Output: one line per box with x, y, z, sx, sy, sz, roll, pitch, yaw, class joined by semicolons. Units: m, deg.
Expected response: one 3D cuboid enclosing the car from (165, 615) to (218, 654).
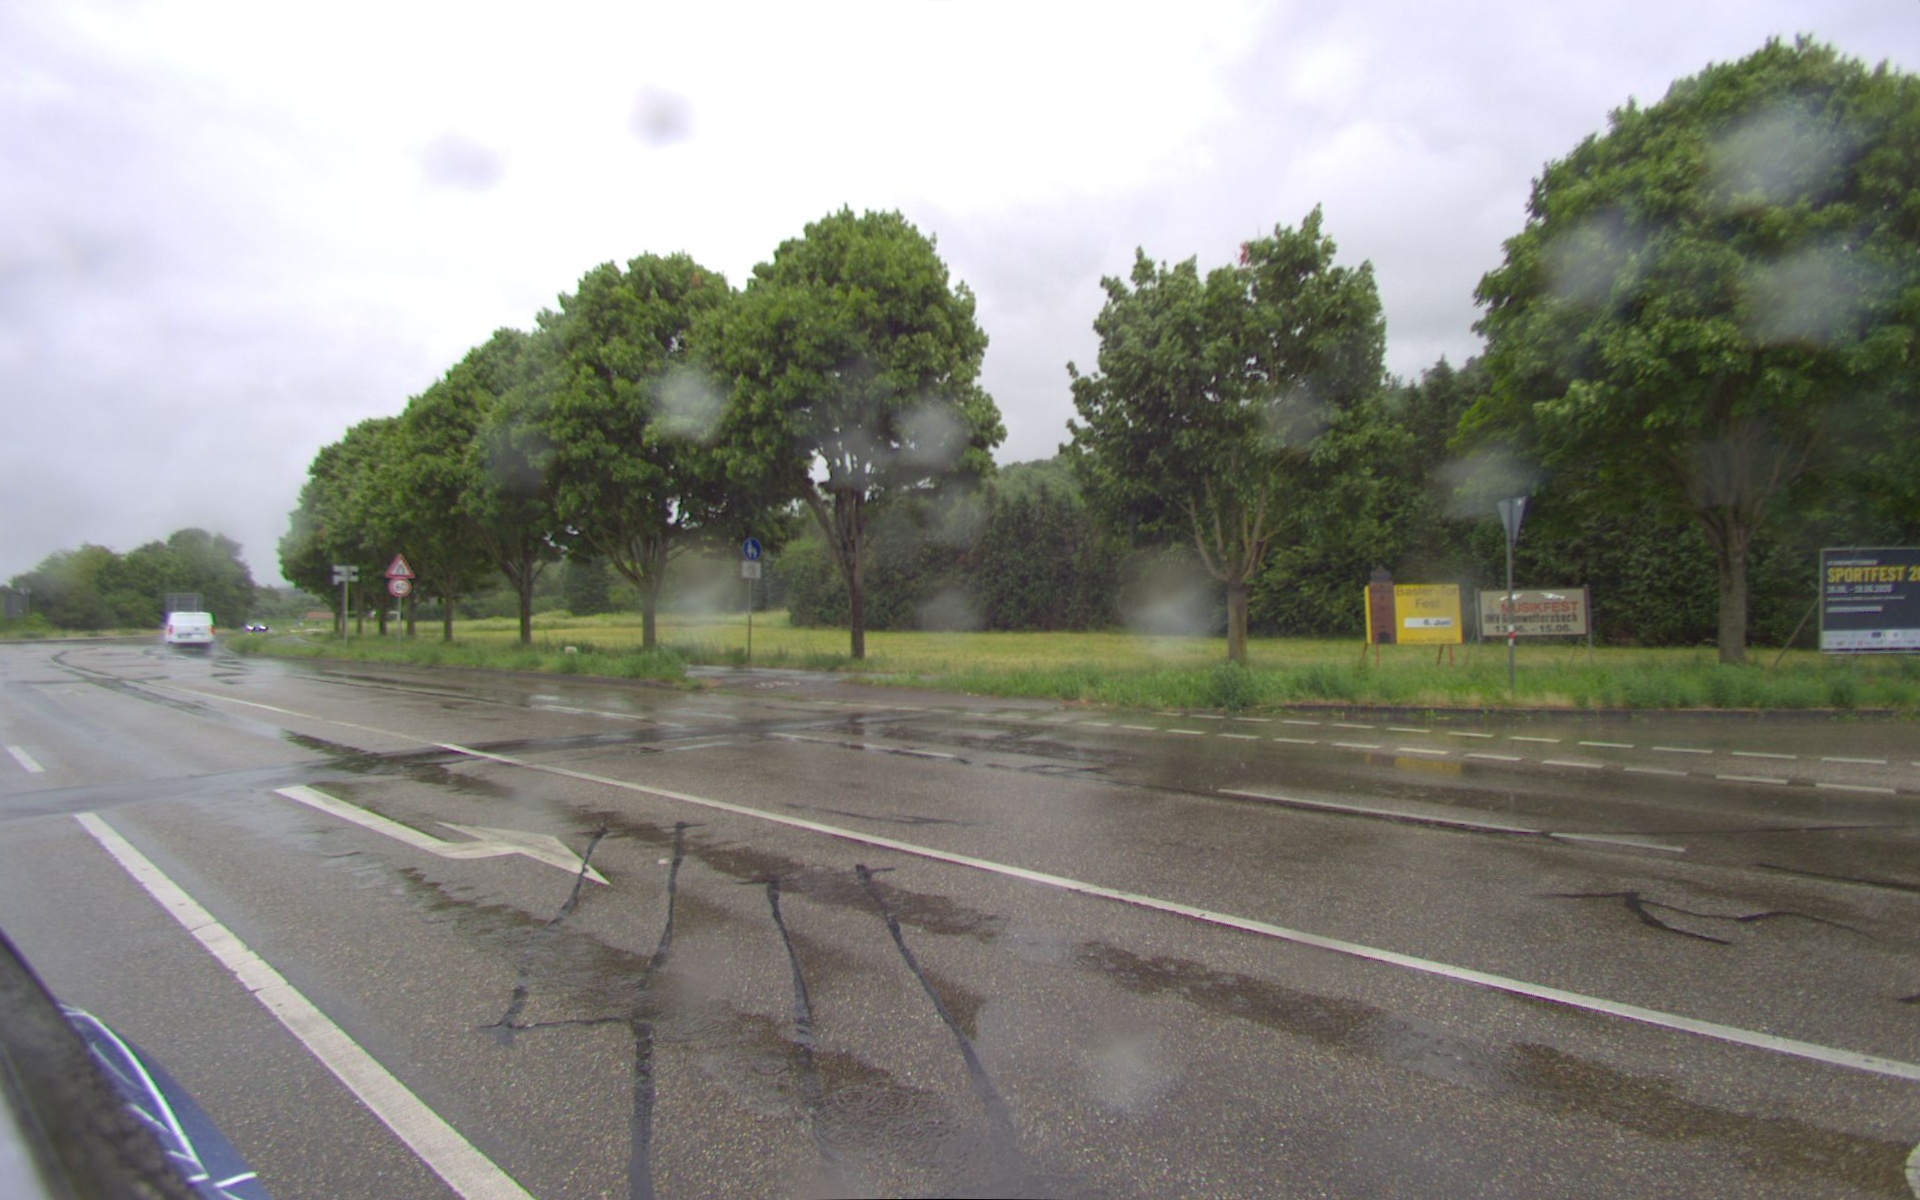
-39.353;1.729;51.844;2.079;1.907;4.801;0;-1;-37;car

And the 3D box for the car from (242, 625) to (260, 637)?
-97.239;4.283;138.838;1.886;1.597;4.112;0;-1;-37;car
